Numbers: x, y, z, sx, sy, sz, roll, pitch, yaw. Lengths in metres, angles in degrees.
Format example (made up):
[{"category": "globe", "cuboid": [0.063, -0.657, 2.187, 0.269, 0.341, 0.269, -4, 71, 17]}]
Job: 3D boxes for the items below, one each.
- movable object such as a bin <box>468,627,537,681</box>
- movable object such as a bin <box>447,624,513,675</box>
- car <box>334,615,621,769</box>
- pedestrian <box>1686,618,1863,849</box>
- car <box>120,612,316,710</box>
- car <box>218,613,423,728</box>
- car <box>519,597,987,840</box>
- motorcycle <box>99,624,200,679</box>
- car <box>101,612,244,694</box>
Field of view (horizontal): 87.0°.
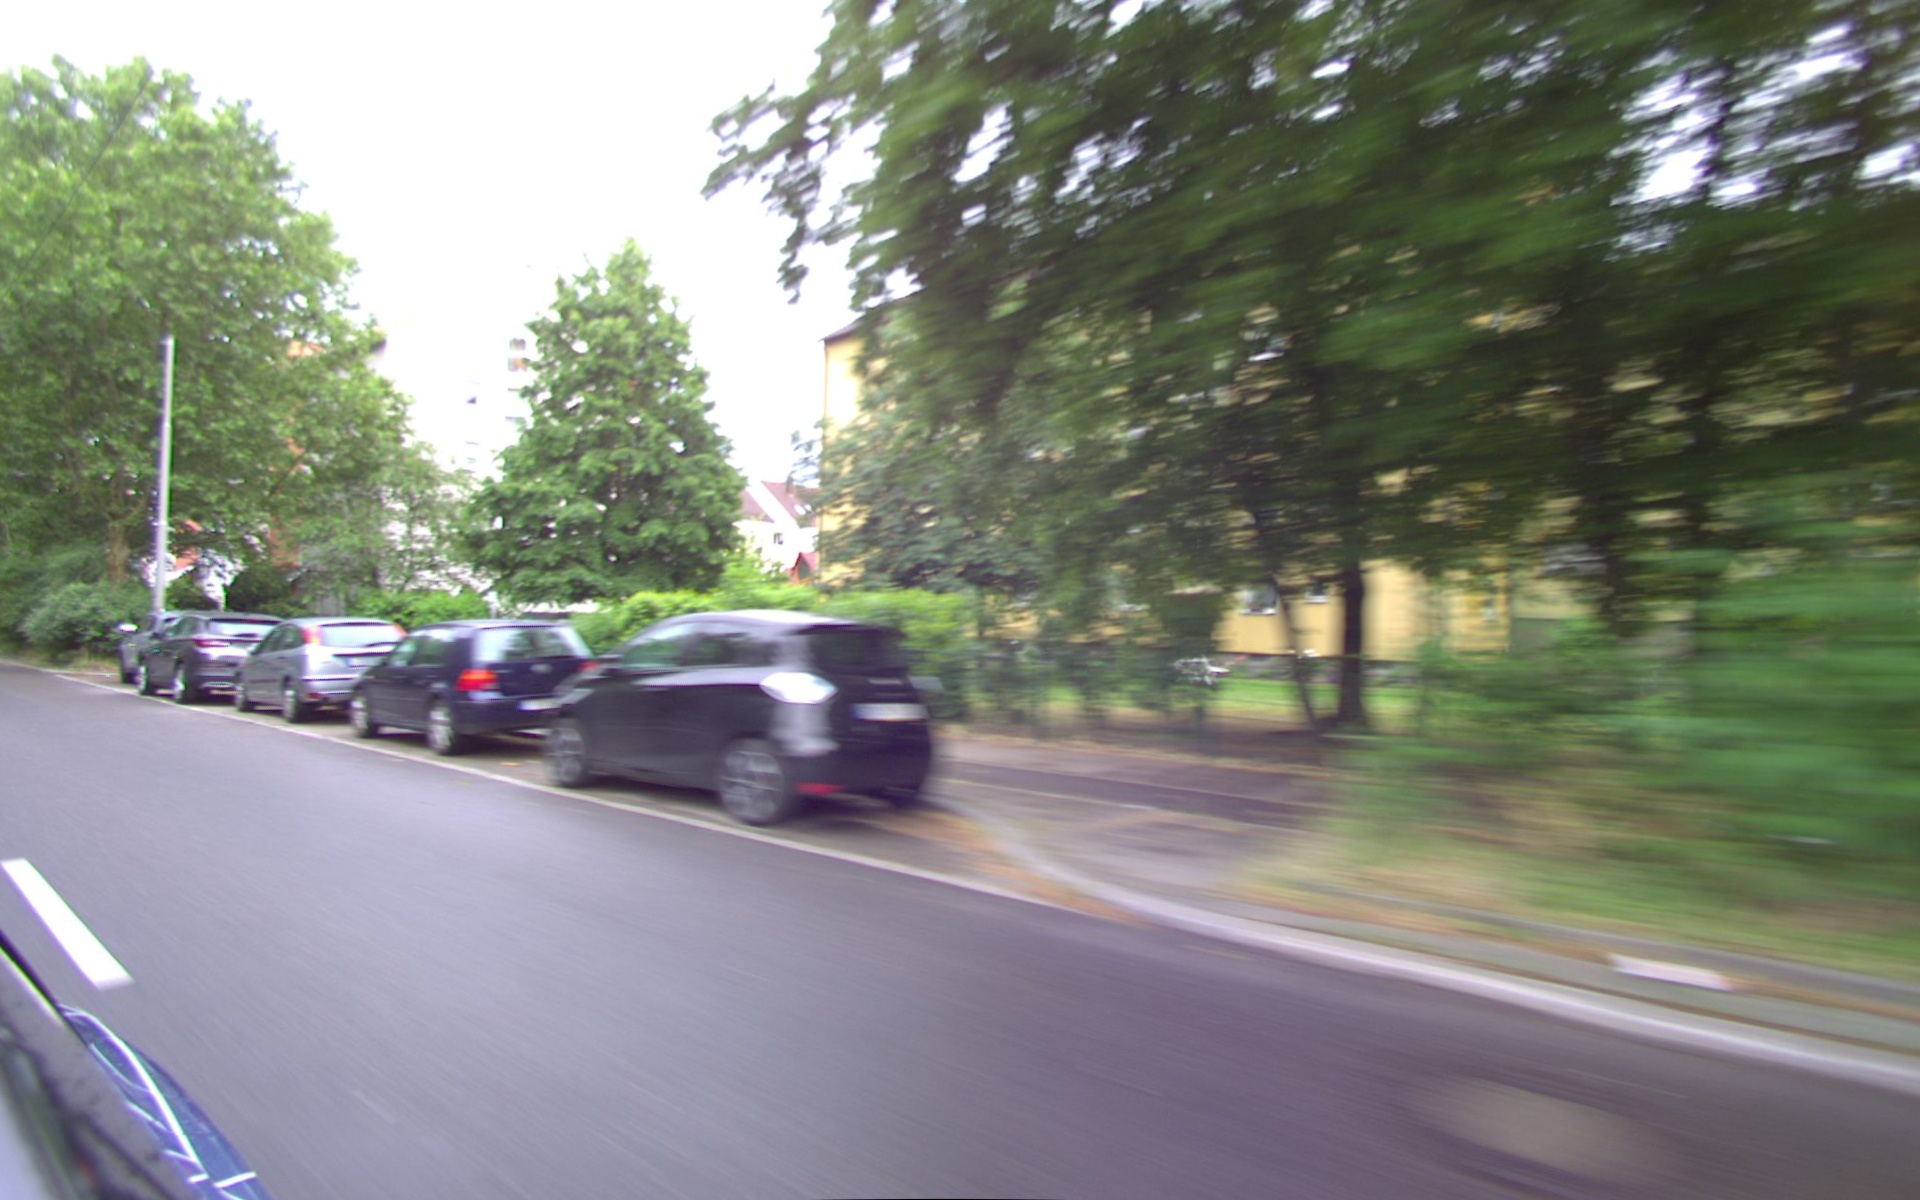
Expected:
[{"category": "movable object such as a bin", "cuboid": [-12.397, 1.434, 27.405, 1.480, 1.390, 1.222, -1, -2, 44]}, {"category": "movable object such as a bin", "cuboid": [-13.495, 1.362, 28.439, 1.480, 1.390, 1.222, -1, -2, 44]}, {"category": "car", "cuboid": [-5.787, 0.957, 11.949, 3.872, 1.519, 1.654, -1, -2, 41]}, {"category": "pedestrian", "cuboid": [6.343, 0.975, 7.893, 1.021, 1.631, 0.581, 1, 1, 43]}, {"category": "car", "cuboid": [-13.669, 1.072, 18.577, 4.235, 1.603, 1.846, -1, -4, 39]}, {"category": "car", "cuboid": [-9.904, 0.975, 15.552, 4.123, 1.519, 1.654, -1, -1, 43]}, {"category": "car", "cuboid": [-1.866, 0.844, 8.420, 4.016, 1.549, 1.631, -1, -5, 41]}, {"category": "motorcycle", "cuboid": [-20.626, 1.320, 25.777, 0.782, 1.325, 1.821, -1, -5, 40]}, {"category": "car", "cuboid": [-18.103, 1.204, 23.201, 4.563, 1.670, 1.715, -2, -6, 42]}]
